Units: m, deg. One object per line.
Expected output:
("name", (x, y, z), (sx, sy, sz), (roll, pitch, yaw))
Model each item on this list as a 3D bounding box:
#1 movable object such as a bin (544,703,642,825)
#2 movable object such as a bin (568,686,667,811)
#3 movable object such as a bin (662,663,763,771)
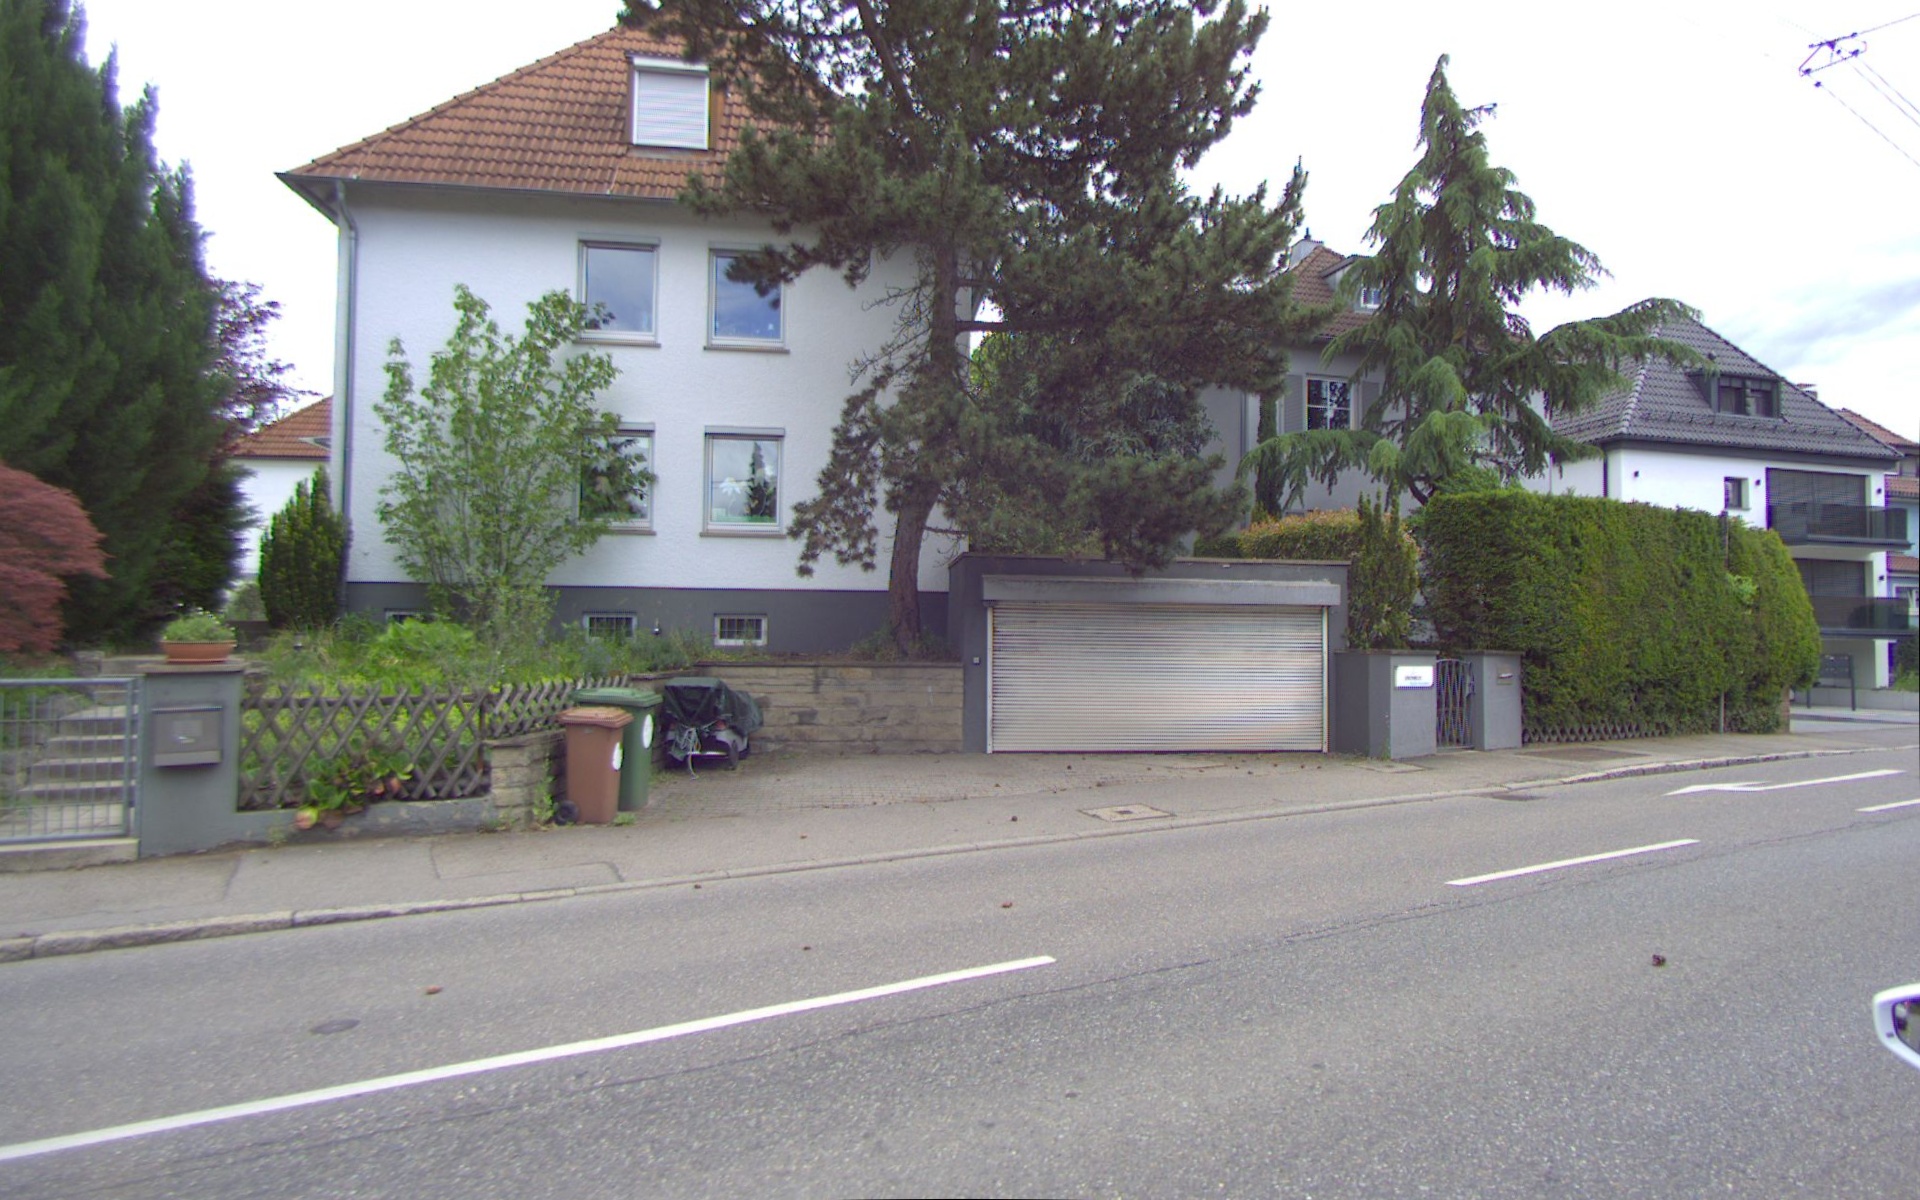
("movable object such as a bin", (-3.067, 1.361, 8.424), (0.634, 0.954, 0.465), (1, -1, 0))
("movable object such as a bin", (-3.047, 1.309, 8.977), (0.702, 1.048, 0.480), (1, -1, 0))
("movable object such as a bin", (-2.825, 1.309, 11.619), (0.702, 1.095, 1.598), (1, -1, 2))
